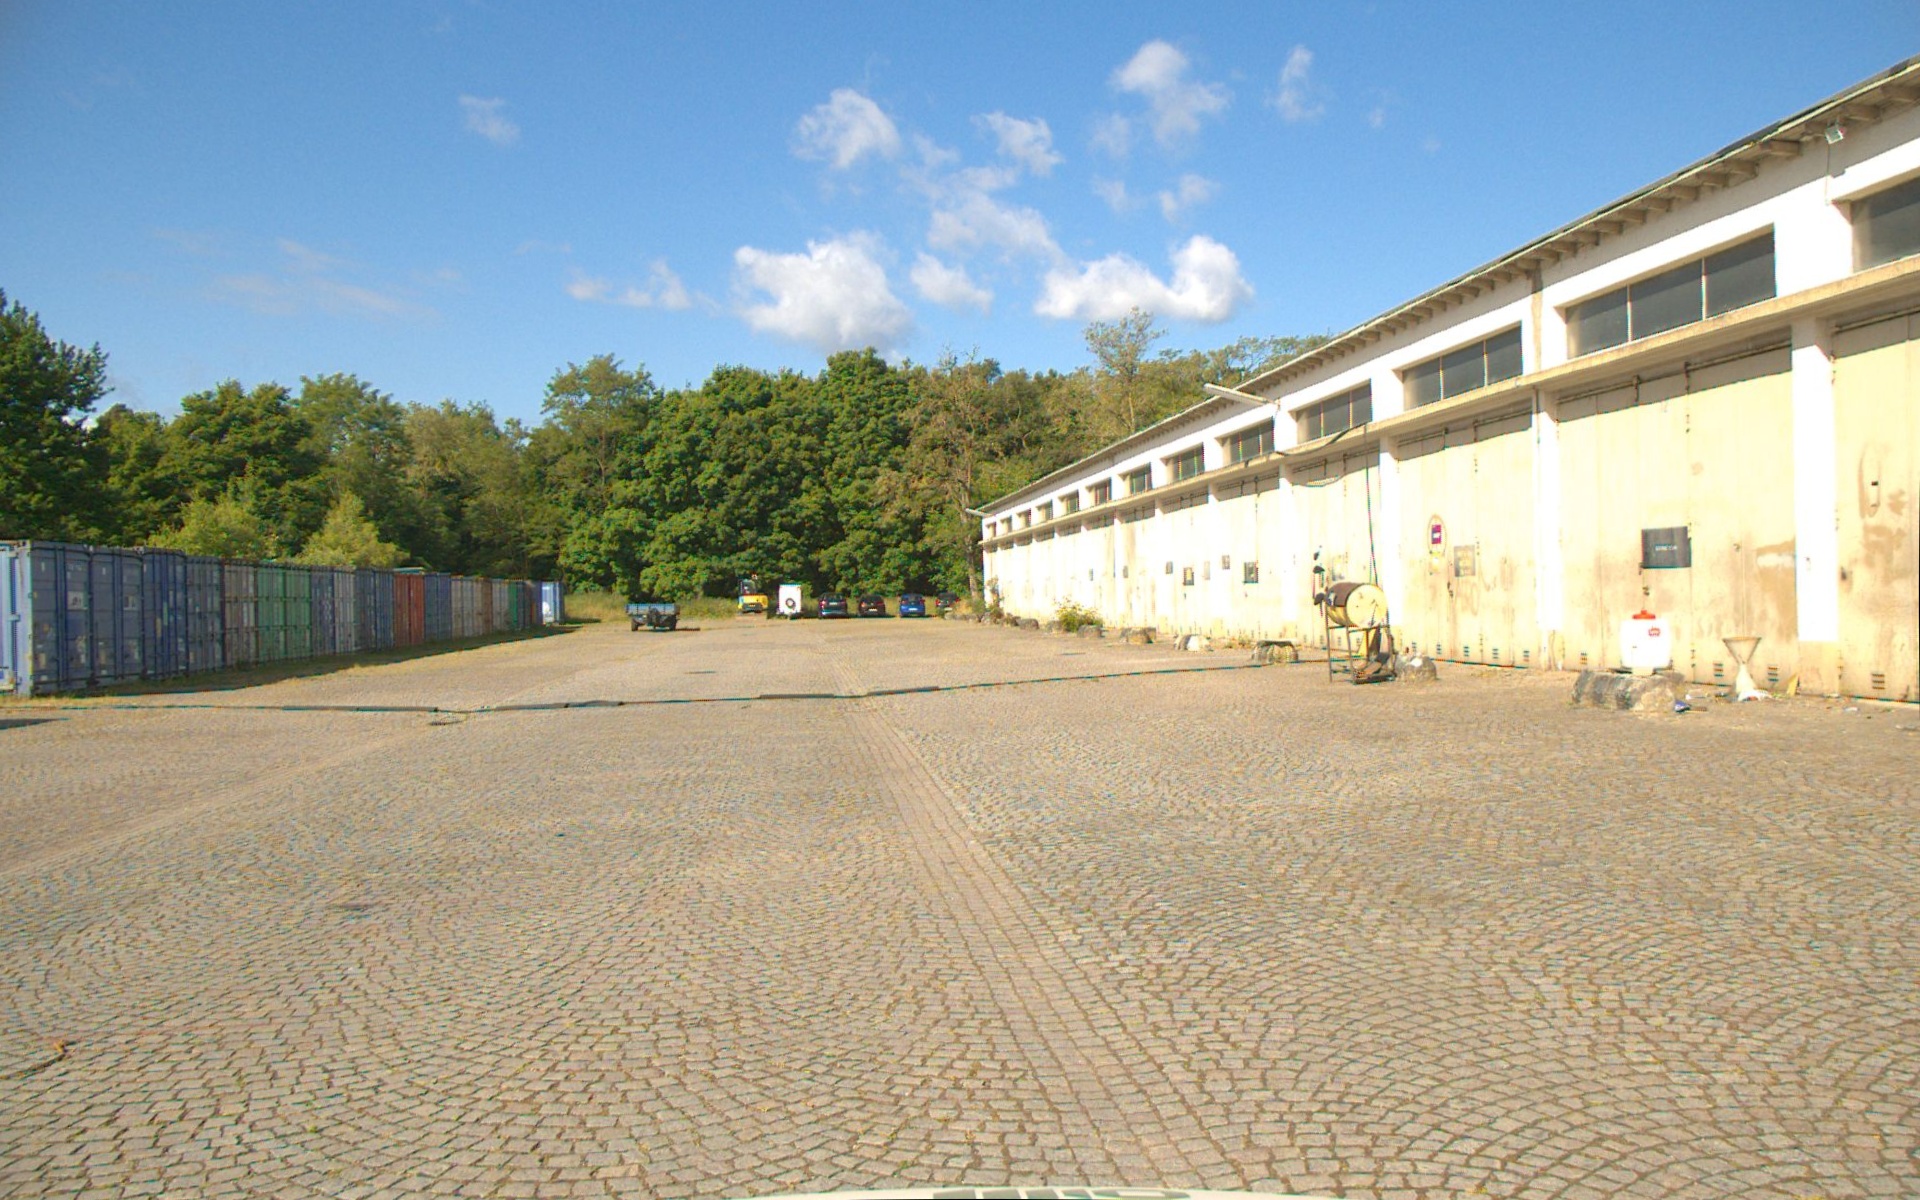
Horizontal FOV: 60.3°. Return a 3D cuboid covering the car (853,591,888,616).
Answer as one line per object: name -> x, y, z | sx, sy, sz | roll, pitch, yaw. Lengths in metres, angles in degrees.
car -> -5.717, 0.224, 105.121 | 1.955, 1.449, 3.995 | -2, 0, -6

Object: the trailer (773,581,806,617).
trailer -> -10.884, -0.062, 105.412 | 1.955, 2.200, 4.425 | -2, 0, -6

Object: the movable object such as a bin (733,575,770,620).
movable object such as a bin -> -13.368, -0.168, 105.897 | 2.190, 2.703, 3.992 | -2, 0, -8

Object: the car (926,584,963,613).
car -> -1.020, -0.107, 106.884 | 1.955, 1.803, 3.995 | -2, 0, -6

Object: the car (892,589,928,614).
car -> -3.192, 0.097, 105.392 | 1.955, 1.491, 3.995 | -2, 0, -6

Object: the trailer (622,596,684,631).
trailer -> -15.954, 0.669, 86.202 | 2.738, 1.675, 5.612 | -2, 0, -7

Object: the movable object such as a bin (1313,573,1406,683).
movable object such as a bin -> 5.401, 0.362, 22.395 | 0.858, 1.426, 1.100 | -2, 0, -7

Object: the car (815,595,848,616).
car -> -8.142, 0.335, 104.476 | 1.955, 1.280, 3.995 | -2, 0, -6
